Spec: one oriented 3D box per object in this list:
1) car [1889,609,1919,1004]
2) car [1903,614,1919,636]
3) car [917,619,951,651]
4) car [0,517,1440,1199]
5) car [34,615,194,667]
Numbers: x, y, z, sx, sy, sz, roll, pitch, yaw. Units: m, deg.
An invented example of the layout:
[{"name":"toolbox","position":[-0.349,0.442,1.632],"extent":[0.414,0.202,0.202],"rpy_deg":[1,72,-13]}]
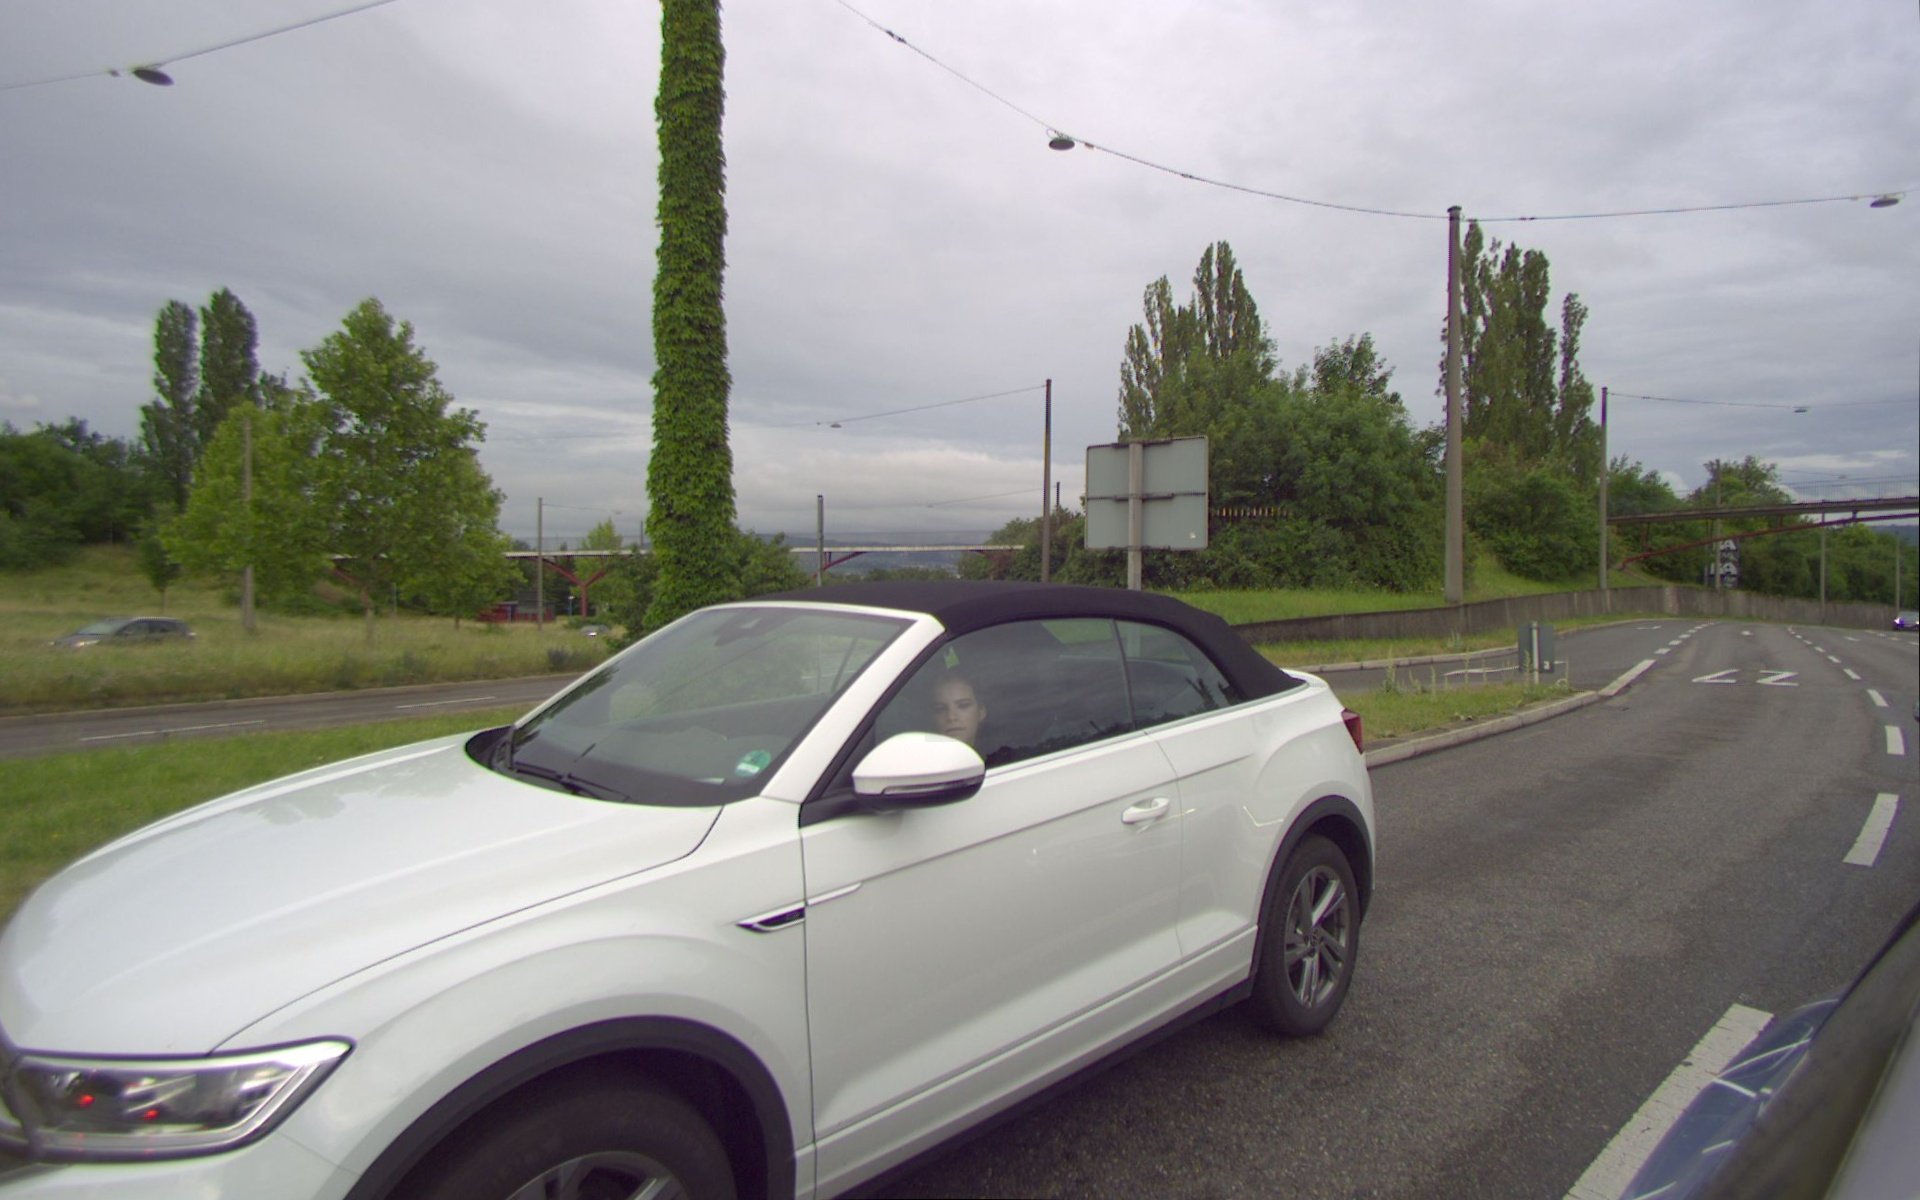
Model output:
[{"name":"car","position":[5.513,0.720,4.153],"extent":[4.060,1.385,1.895],"rpy_deg":[-1,1,-38]},{"name":"car","position":[74.732,1.917,78.457],"extent":[3.929,1.700,1.909],"rpy_deg":[1,-3,-40]},{"name":"car","position":[-1.633,2.145,62.690],"extent":[1.961,1.872,4.824],"rpy_deg":[-1,-2,-3]},{"name":"car","position":[-0.241,0.656,3.102],"extent":[4.159,1.572,1.715],"rpy_deg":[-1,1,-43]},{"name":"car","position":[-28.790,1.351,34.610],"extent":[1.965,1.556,3.954],"rpy_deg":[0,1,6]}]
